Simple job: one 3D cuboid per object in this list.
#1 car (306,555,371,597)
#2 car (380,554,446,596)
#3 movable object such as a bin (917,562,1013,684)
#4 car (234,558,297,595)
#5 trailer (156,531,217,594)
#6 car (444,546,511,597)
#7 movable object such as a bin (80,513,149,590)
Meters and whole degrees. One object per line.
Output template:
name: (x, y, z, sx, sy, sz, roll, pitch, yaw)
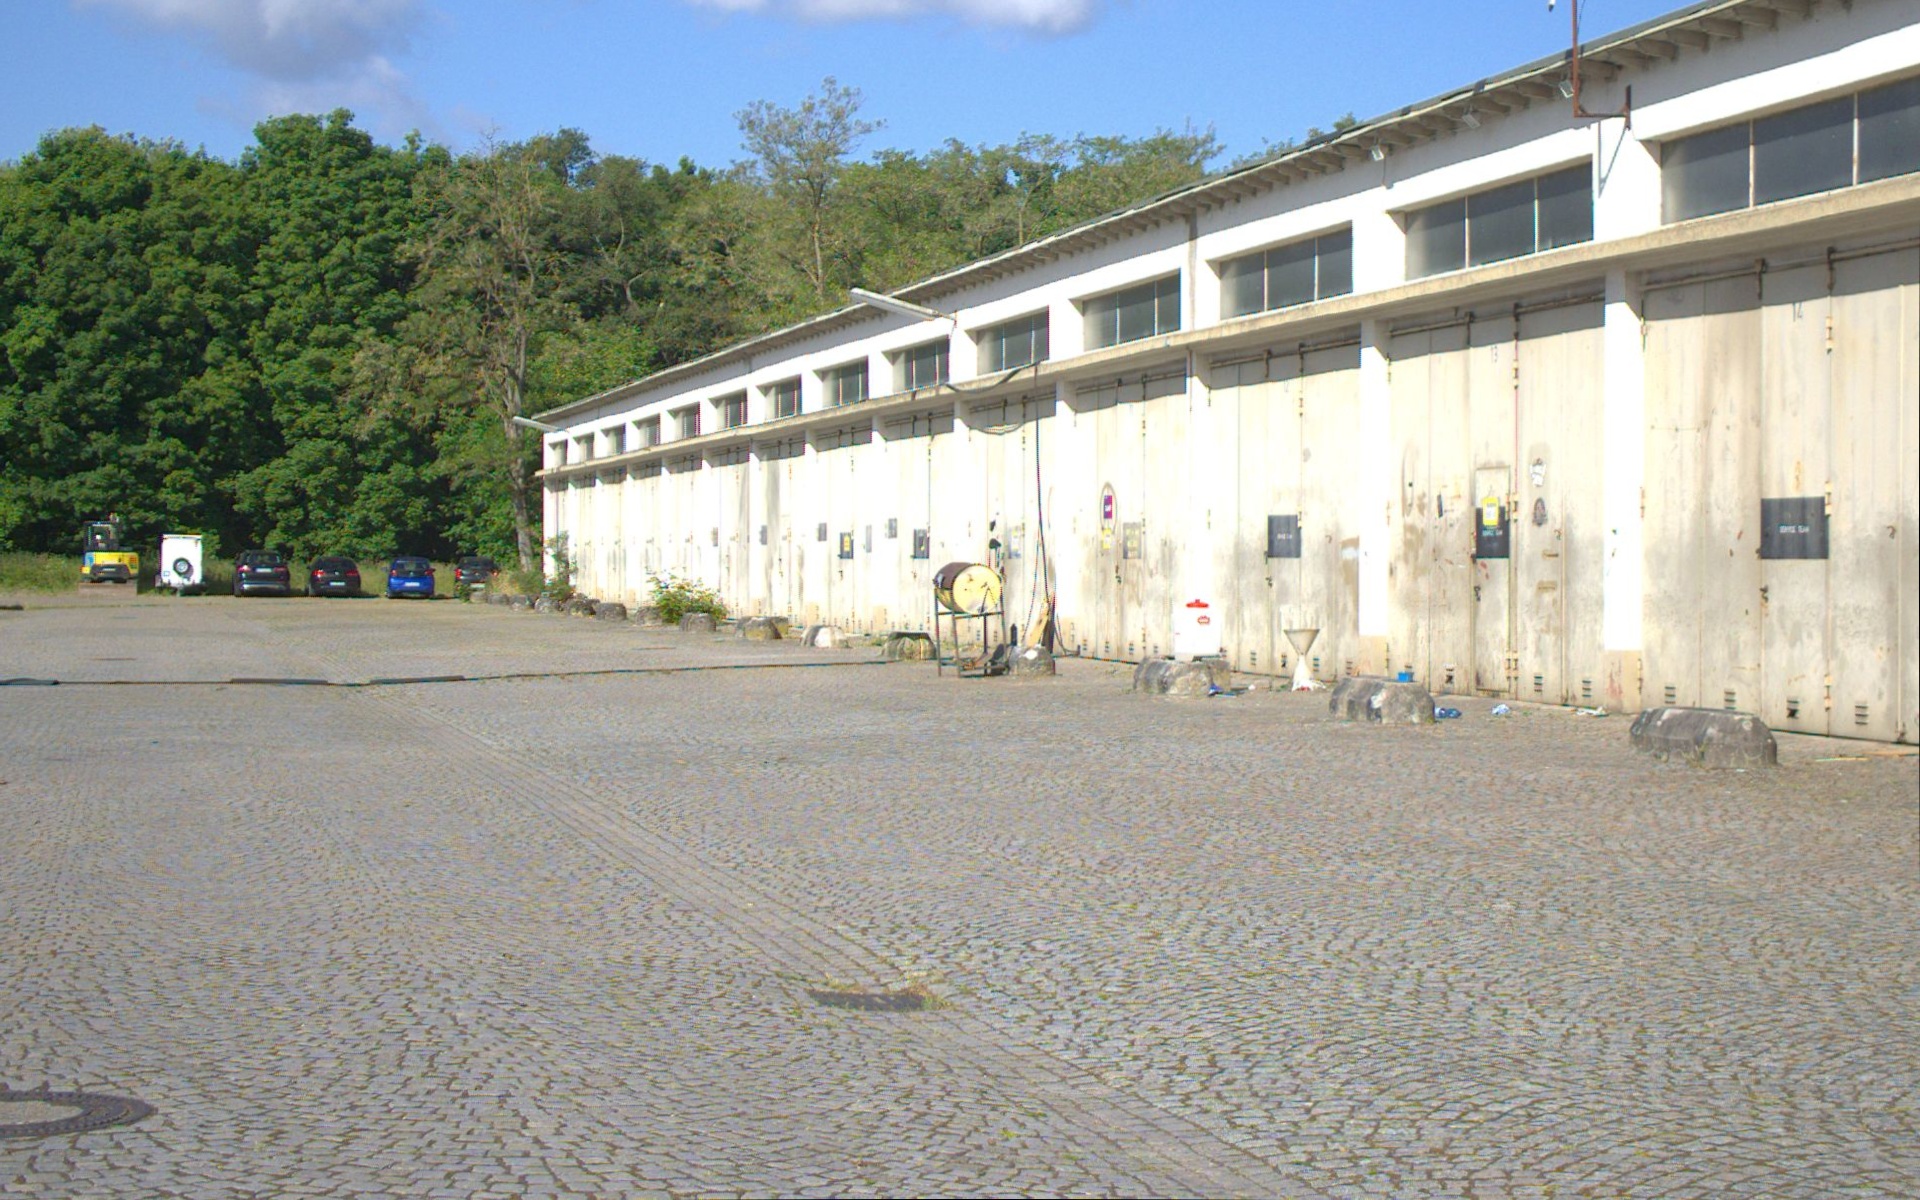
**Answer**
car: (-21.843, -0.856, 120.753, 1.993, 1.419, 4.001, 0, 1, -14)
car: (-19.316, -0.897, 121.328, 1.993, 1.461, 4.001, 0, 1, -14)
movable object such as a bin: (0.052, 0.258, 40.034, 0.874, 1.396, 1.102, 0, 1, -14)
car: (-24.219, -0.824, 119.818, 1.993, 1.254, 4.001, 0, 1, -14)
trailer: (-27.105, -1.312, 120.409, 1.993, 2.155, 4.433, 0, 1, -14)
car: (-17.304, -1.034, 123.072, 1.993, 1.766, 4.001, 0, 1, -14)
movable object such as a bin: (-29.679, -1.705, 120.585, 2.231, 2.648, 4.001, 0, 1, -16)
